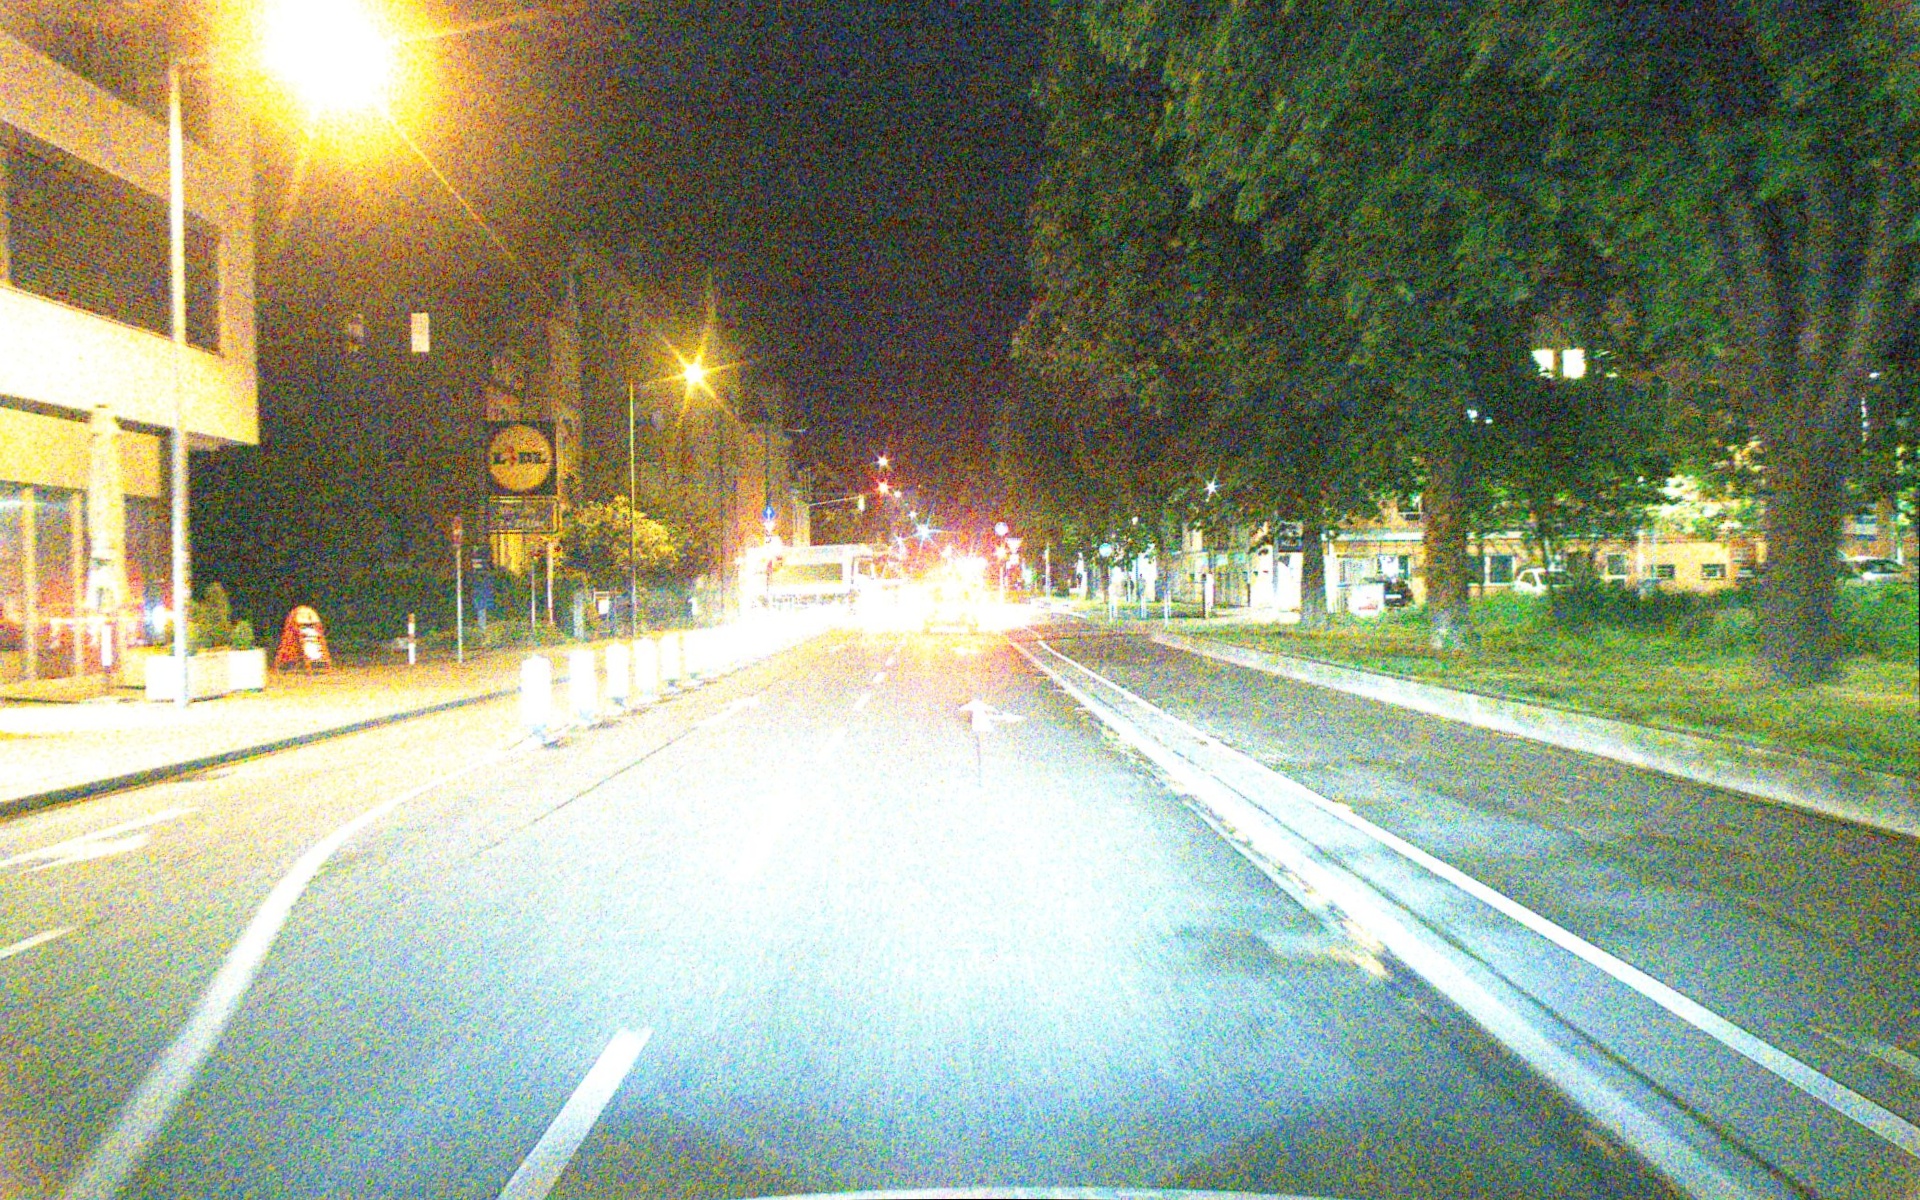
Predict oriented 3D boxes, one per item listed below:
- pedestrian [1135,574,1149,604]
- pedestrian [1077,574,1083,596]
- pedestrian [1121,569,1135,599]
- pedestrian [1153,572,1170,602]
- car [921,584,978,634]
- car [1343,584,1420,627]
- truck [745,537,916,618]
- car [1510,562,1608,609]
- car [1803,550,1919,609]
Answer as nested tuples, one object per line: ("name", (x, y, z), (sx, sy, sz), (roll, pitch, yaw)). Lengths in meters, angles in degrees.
("pedestrian", (11.115, -0.693, 100.946), (0.724, 1.799, 0.907), (-2, 0, -1))
("pedestrian", (11.636, -1.457, 160.737), (0.478, 2.049, 0.550), (-2, 0, -2))
("pedestrian", (10.248, -0.984, 100.677), (0.699, 1.799, 0.907), (-2, 0, -1))
("pedestrian", (12.319, -0.808, 101.227), (0.882, 1.799, 0.907), (-2, 0, -1))
("car", (-0.328, 0.258, 54.040), (1.768, 1.520, 4.729), (1, 0, 0))
("car", (15.046, 0.172, 59.265), (1.482, 1.419, 4.481), (-2, 1, -1))
("truck", (-6.852, -1.137, 86.097), (9.932, 3.782, 2.748), (-2, 1, 42))
("car", (21.407, -0.513, 59.302), (1.747, 1.560, 3.996), (-2, 1, -5))
("car", (25.950, -0.586, 47.119), (1.732, 1.560, 4.098), (-2, 1, -1))
